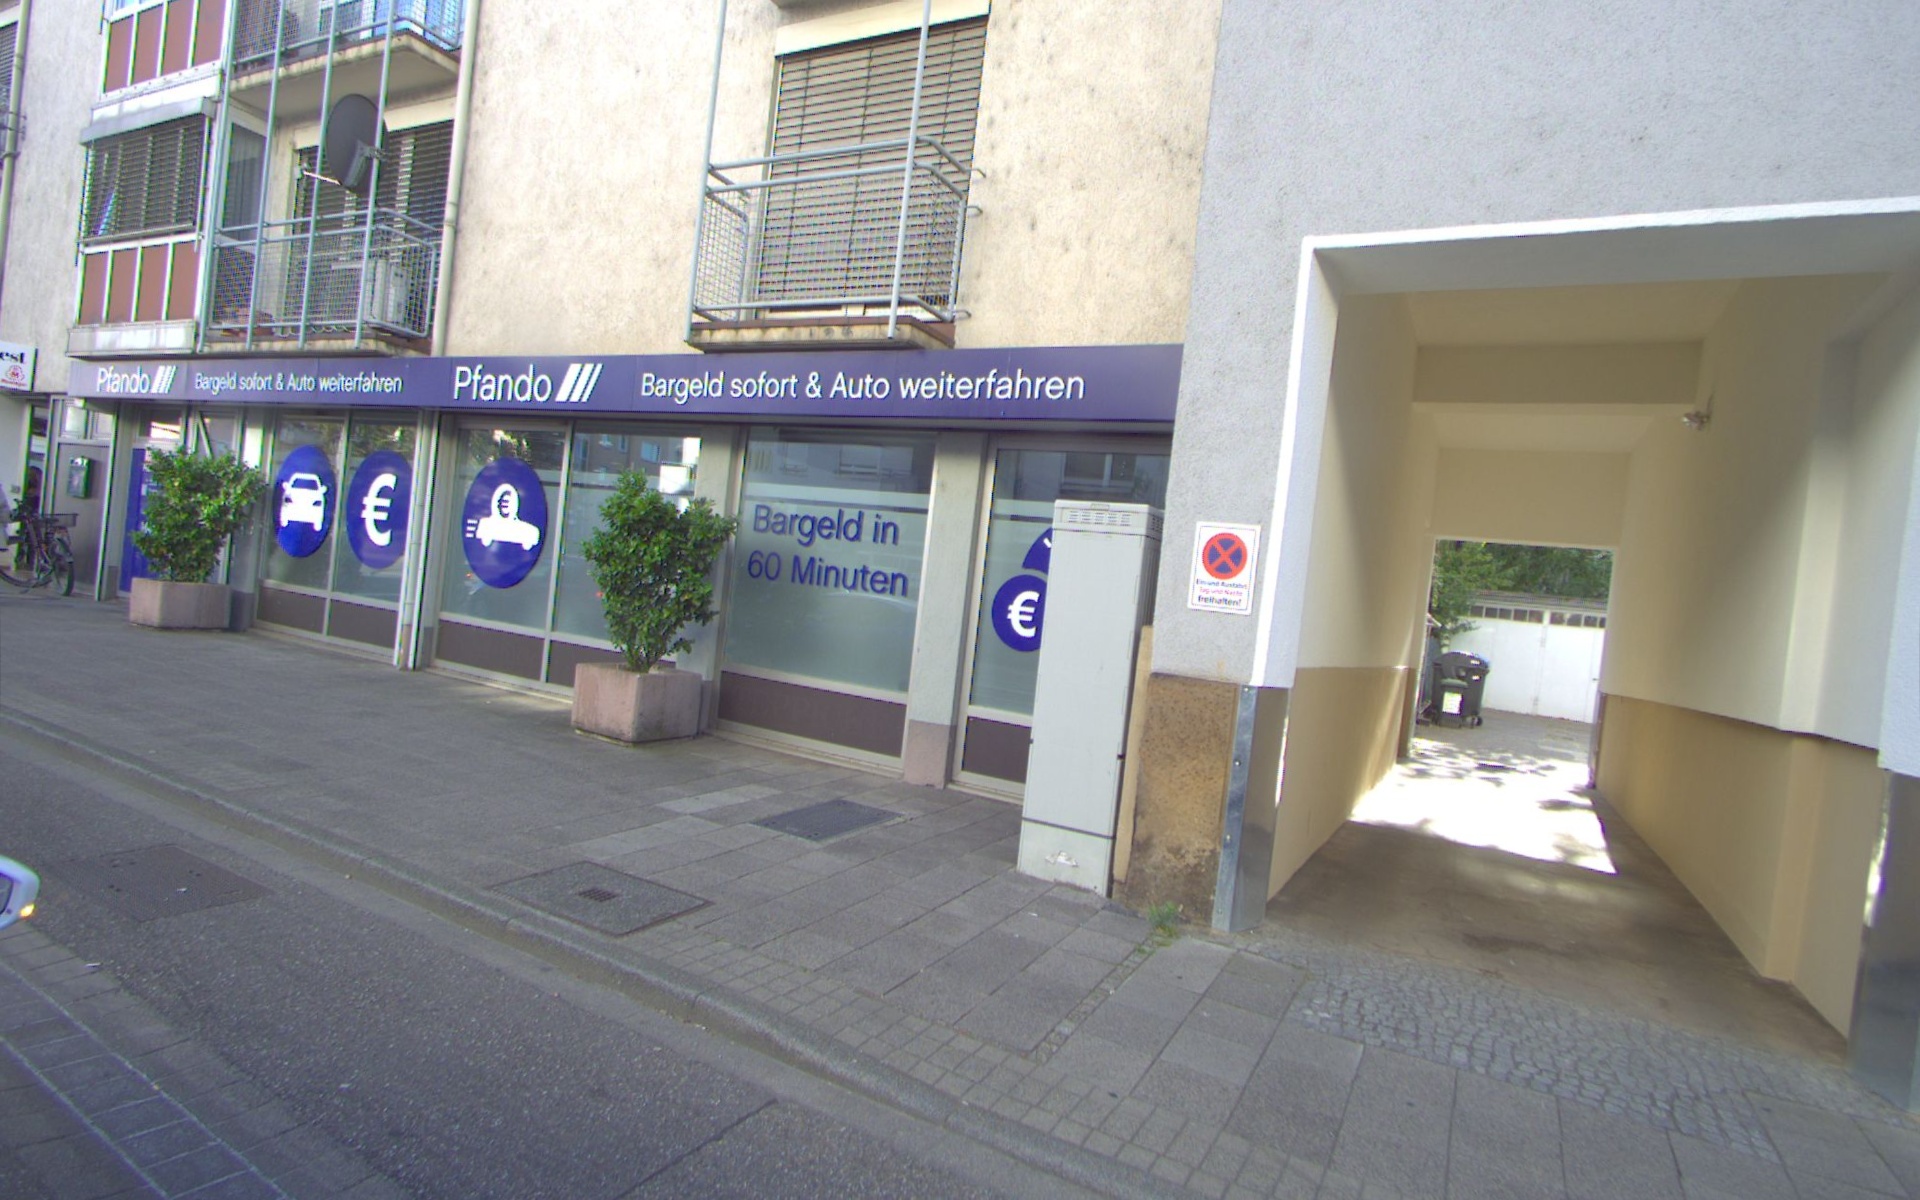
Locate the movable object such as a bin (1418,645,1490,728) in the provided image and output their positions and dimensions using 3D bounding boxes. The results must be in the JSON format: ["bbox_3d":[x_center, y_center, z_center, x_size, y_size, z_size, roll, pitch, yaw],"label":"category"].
[{"bbox_3d":[10.034,1.760,20.417,1.092,1.511,1.329,6,-2,30],"label":"movable object such as a bin"}]

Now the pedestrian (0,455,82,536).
[{"bbox_3d":[-14.128,-1.595,15.448,0.667,1.102,0.624,7,2,-5],"label":"pedestrian"}]

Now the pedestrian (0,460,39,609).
[{"bbox_3d":[-10.861,-0.750,10.984,0.796,1.614,0.886,8,3,24],"label":"pedestrian"}]

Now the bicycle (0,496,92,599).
[{"bbox_3d":[-11.865,-0.689,12.870,1.747,1.176,0.497,6,0,29],"label":"bicycle"}]
